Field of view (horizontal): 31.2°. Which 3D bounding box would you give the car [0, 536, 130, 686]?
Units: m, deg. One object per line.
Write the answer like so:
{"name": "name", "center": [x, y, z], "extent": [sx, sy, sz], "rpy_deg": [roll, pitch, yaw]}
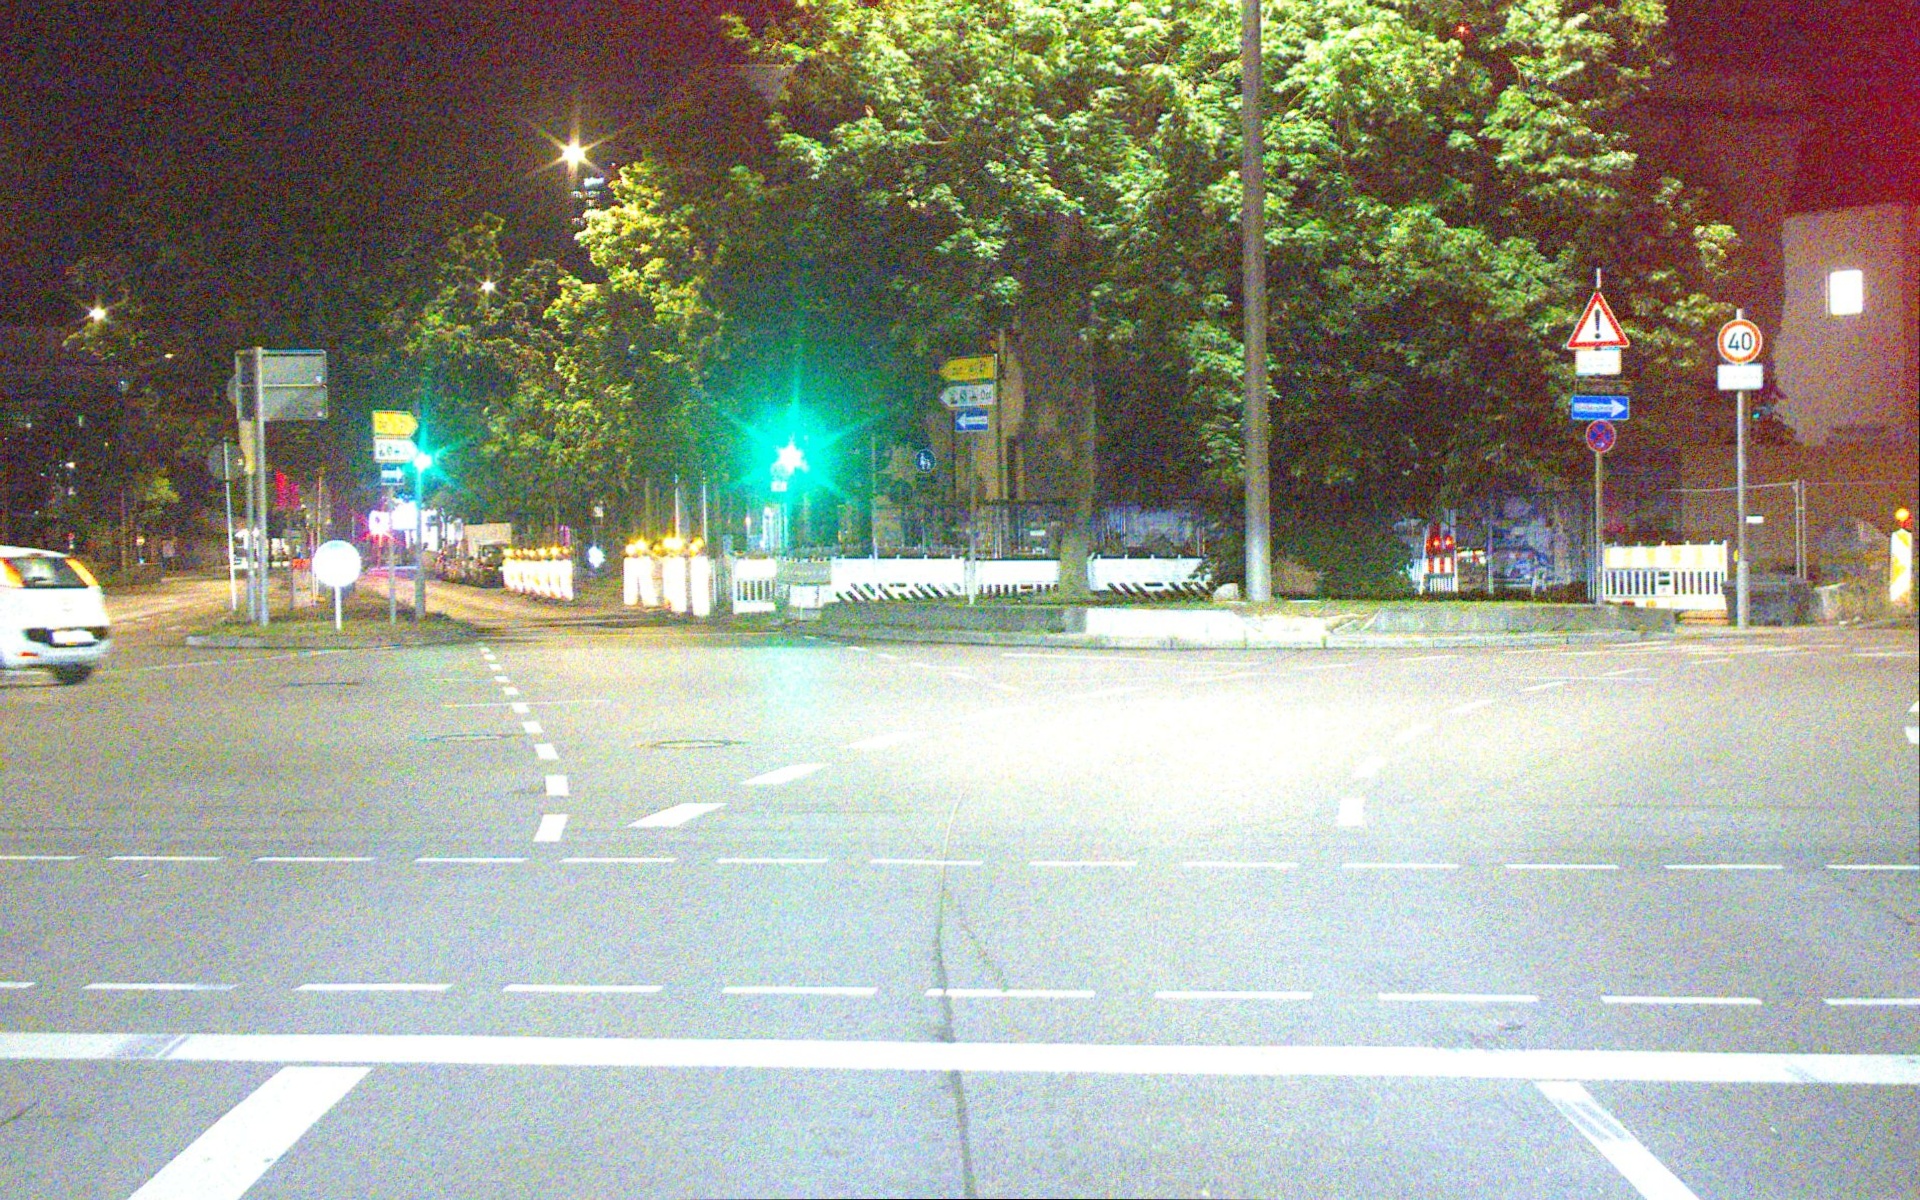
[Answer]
{"name": "car", "center": [-10.764, 0.104, 35.710], "extent": [3.992, 1.486, 1.706], "rpy_deg": [0, 0, 26]}
